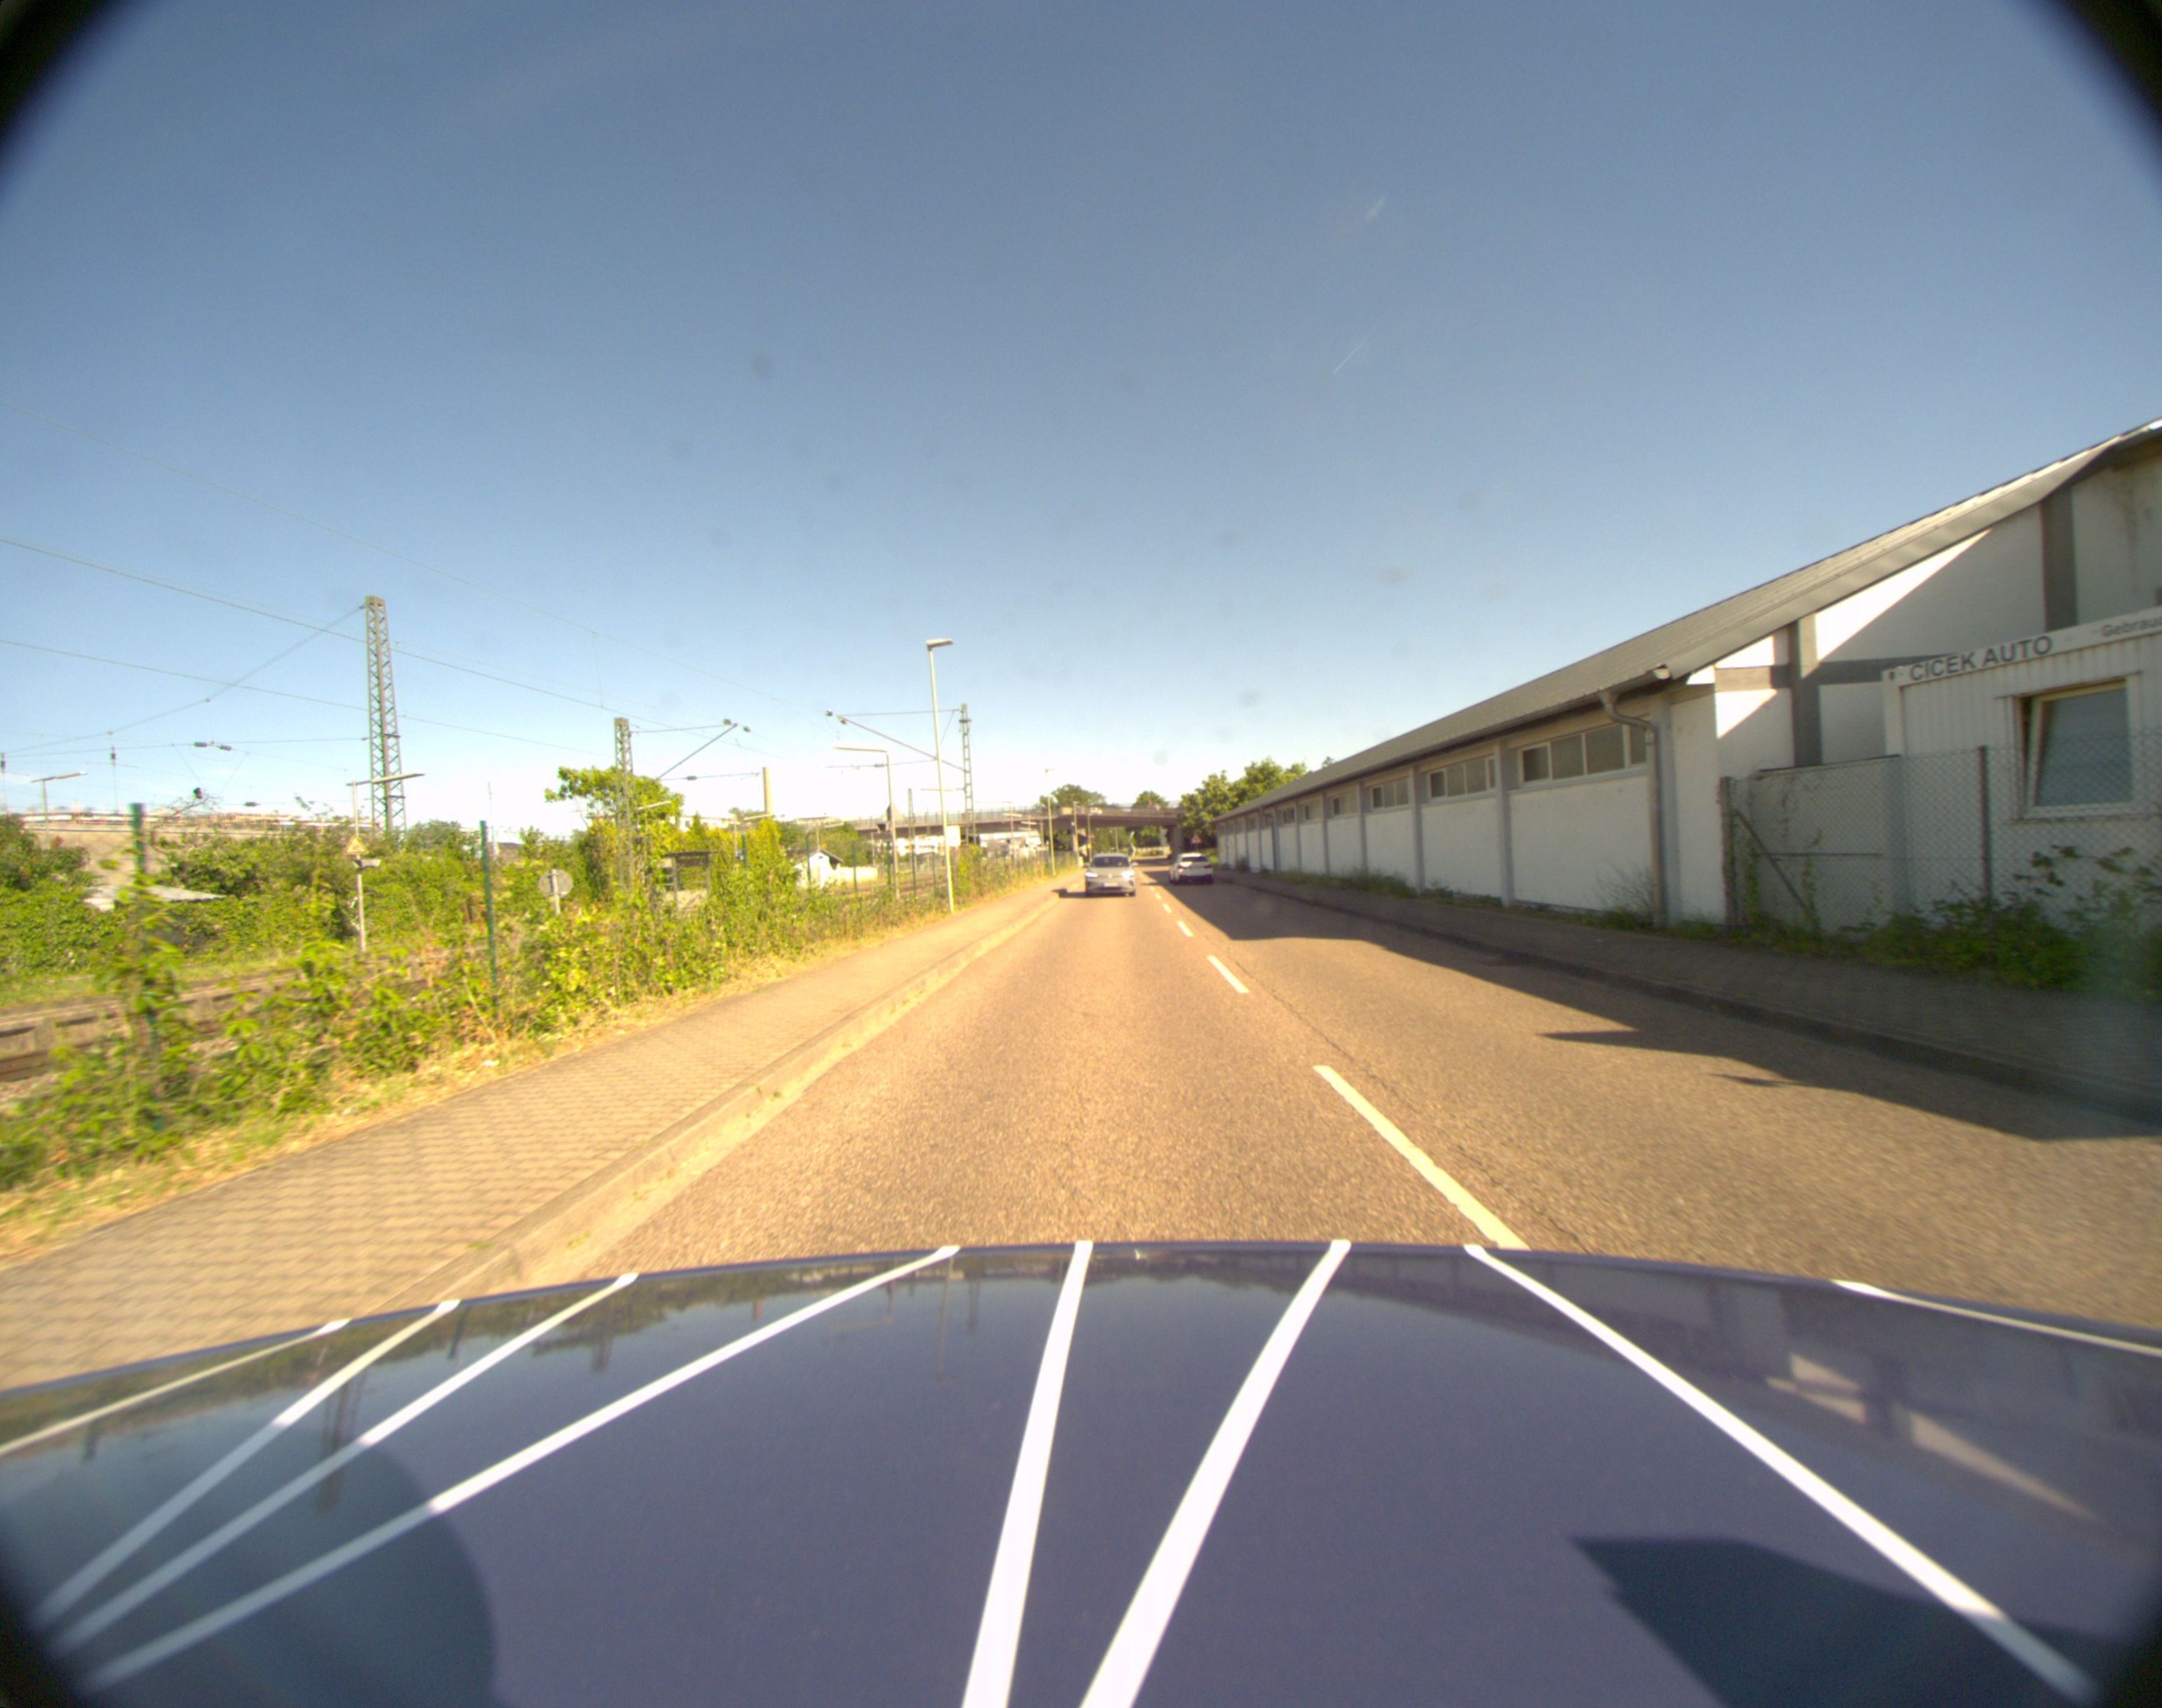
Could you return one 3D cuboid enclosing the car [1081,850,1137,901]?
[{"bbox_3d":[1.096,0.737,28.206,1.850,1.621,4.296,-3,1,4],"label":"car"}]

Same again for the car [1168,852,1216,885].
[{"bbox_3d":[5.404,0.678,37.499,1.813,1.469,4.688,-2,0,3],"label":"car"}]

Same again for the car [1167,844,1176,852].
[{"bbox_3d":[23.734,-1.591,198.634,1.997,1.767,4.368,-3,1,9],"label":"car"}]
